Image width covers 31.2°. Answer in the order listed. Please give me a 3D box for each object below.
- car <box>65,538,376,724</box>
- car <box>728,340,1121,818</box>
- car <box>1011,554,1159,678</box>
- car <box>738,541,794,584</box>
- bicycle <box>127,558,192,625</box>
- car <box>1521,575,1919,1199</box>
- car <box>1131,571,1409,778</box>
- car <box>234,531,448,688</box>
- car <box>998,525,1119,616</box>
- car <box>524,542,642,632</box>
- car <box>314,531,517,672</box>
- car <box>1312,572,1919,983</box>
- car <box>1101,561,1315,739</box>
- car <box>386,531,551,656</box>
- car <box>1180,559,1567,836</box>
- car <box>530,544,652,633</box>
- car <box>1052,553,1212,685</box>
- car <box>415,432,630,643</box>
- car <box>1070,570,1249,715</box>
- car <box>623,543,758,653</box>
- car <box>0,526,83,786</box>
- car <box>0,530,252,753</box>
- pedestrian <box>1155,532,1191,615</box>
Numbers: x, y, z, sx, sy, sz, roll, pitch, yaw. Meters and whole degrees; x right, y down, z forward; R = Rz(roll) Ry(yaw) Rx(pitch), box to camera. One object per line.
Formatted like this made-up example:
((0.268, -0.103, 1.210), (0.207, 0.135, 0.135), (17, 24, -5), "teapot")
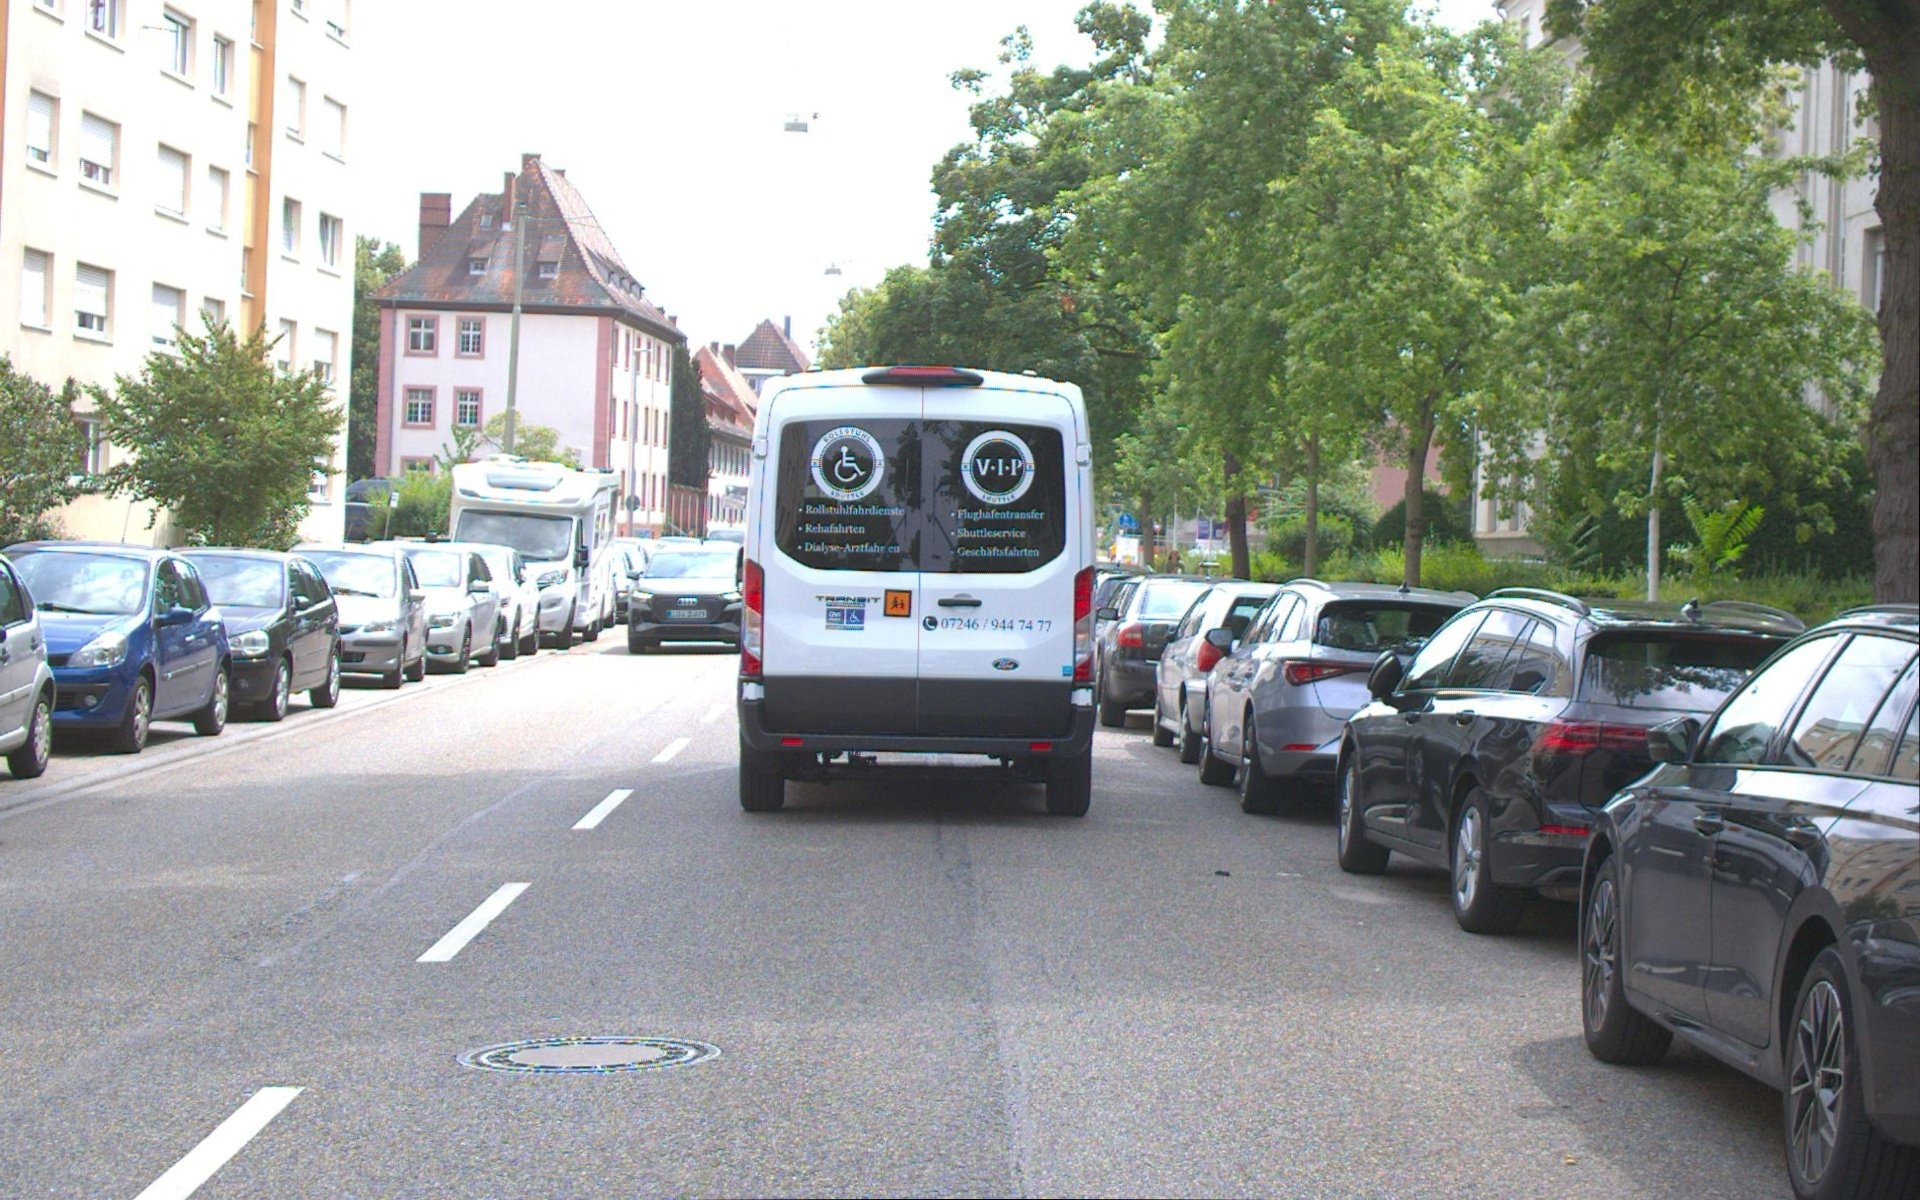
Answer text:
((-6.630, 0.230, 31.242), (1.818, 1.478, 4.116), (3, 1, 1), "car")
((-0.294, -0.132, 20.782), (2.070, 2.531, 4.635), (1, 0, -3), "car")
((1.764, 0.191, 49.837), (1.659, 1.577, 4.286), (4, 1, -3), "car")
((-7.263, -1.414, 128.823), (1.786, 1.477, 3.861), (3, 1, 0), "car")
((-12.699, -0.140, 54.592), (0.452, 0.977, 2.446), (2, 2, -1), "bicycle")
((2.761, 0.732, 9.164), (1.697, 1.464, 4.560), (3, 1, 0), "car")
((2.406, 0.540, 27.528), (1.670, 1.396, 3.852), (4, 1, -2), "car")
((-6.762, 0.063, 37.891), (1.722, 1.534, 4.005), (2, 2, -2), "car")
((1.962, -0.624, 70.133), (1.927, 1.655, 5.326), (4, 1, -3), "car")
((-6.811, -0.268, 62.483), (1.688, 1.491, 4.594), (3, 1, -1), "car")
((-6.767, -0.019, 43.128), (1.755, 1.574, 4.568), (3, 1, 0), "car")
((2.834, 0.673, 15.748), (1.697, 1.464, 4.754), (3, 1, -2), "car")
((2.290, 0.419, 32.758), (1.780, 1.464, 4.614), (3, 1, 2), "car")
((-6.848, -0.128, 48.281), (1.688, 1.574, 4.594), (3, 1, -1), "car")
((2.524, 0.533, 22.067), (1.697, 1.464, 4.718), (3, 1, -2), "car")
((-7.265, -0.263, 68.082), (1.886, 1.574, 5.220), (3, 1, -1), "car")
((2.121, 0.205, 43.317), (1.659, 1.464, 3.890), (2, 2, -2), "car")
((-6.894, -0.997, 55.053), (2.510, 3.013, 7.397), (3, 1, -1), "car")
((2.174, 0.434, 38.323), (1.659, 1.464, 3.726), (2, 1, -1), "car")
((-4.080, -0.065, 52.620), (1.818, 1.580, 4.436), (1, 1, -2), "car")
((-6.603, 0.302, 20.738), (1.670, 1.556, 3.852), (3, 1, -2), "car")
((-6.718, 0.254, 25.925), (1.818, 1.478, 3.885), (3, 1, 1), "car")
((4.719, -0.587, 76.149), (0.522, 1.822, 0.523), (0, 1, -44), "pedestrian")
